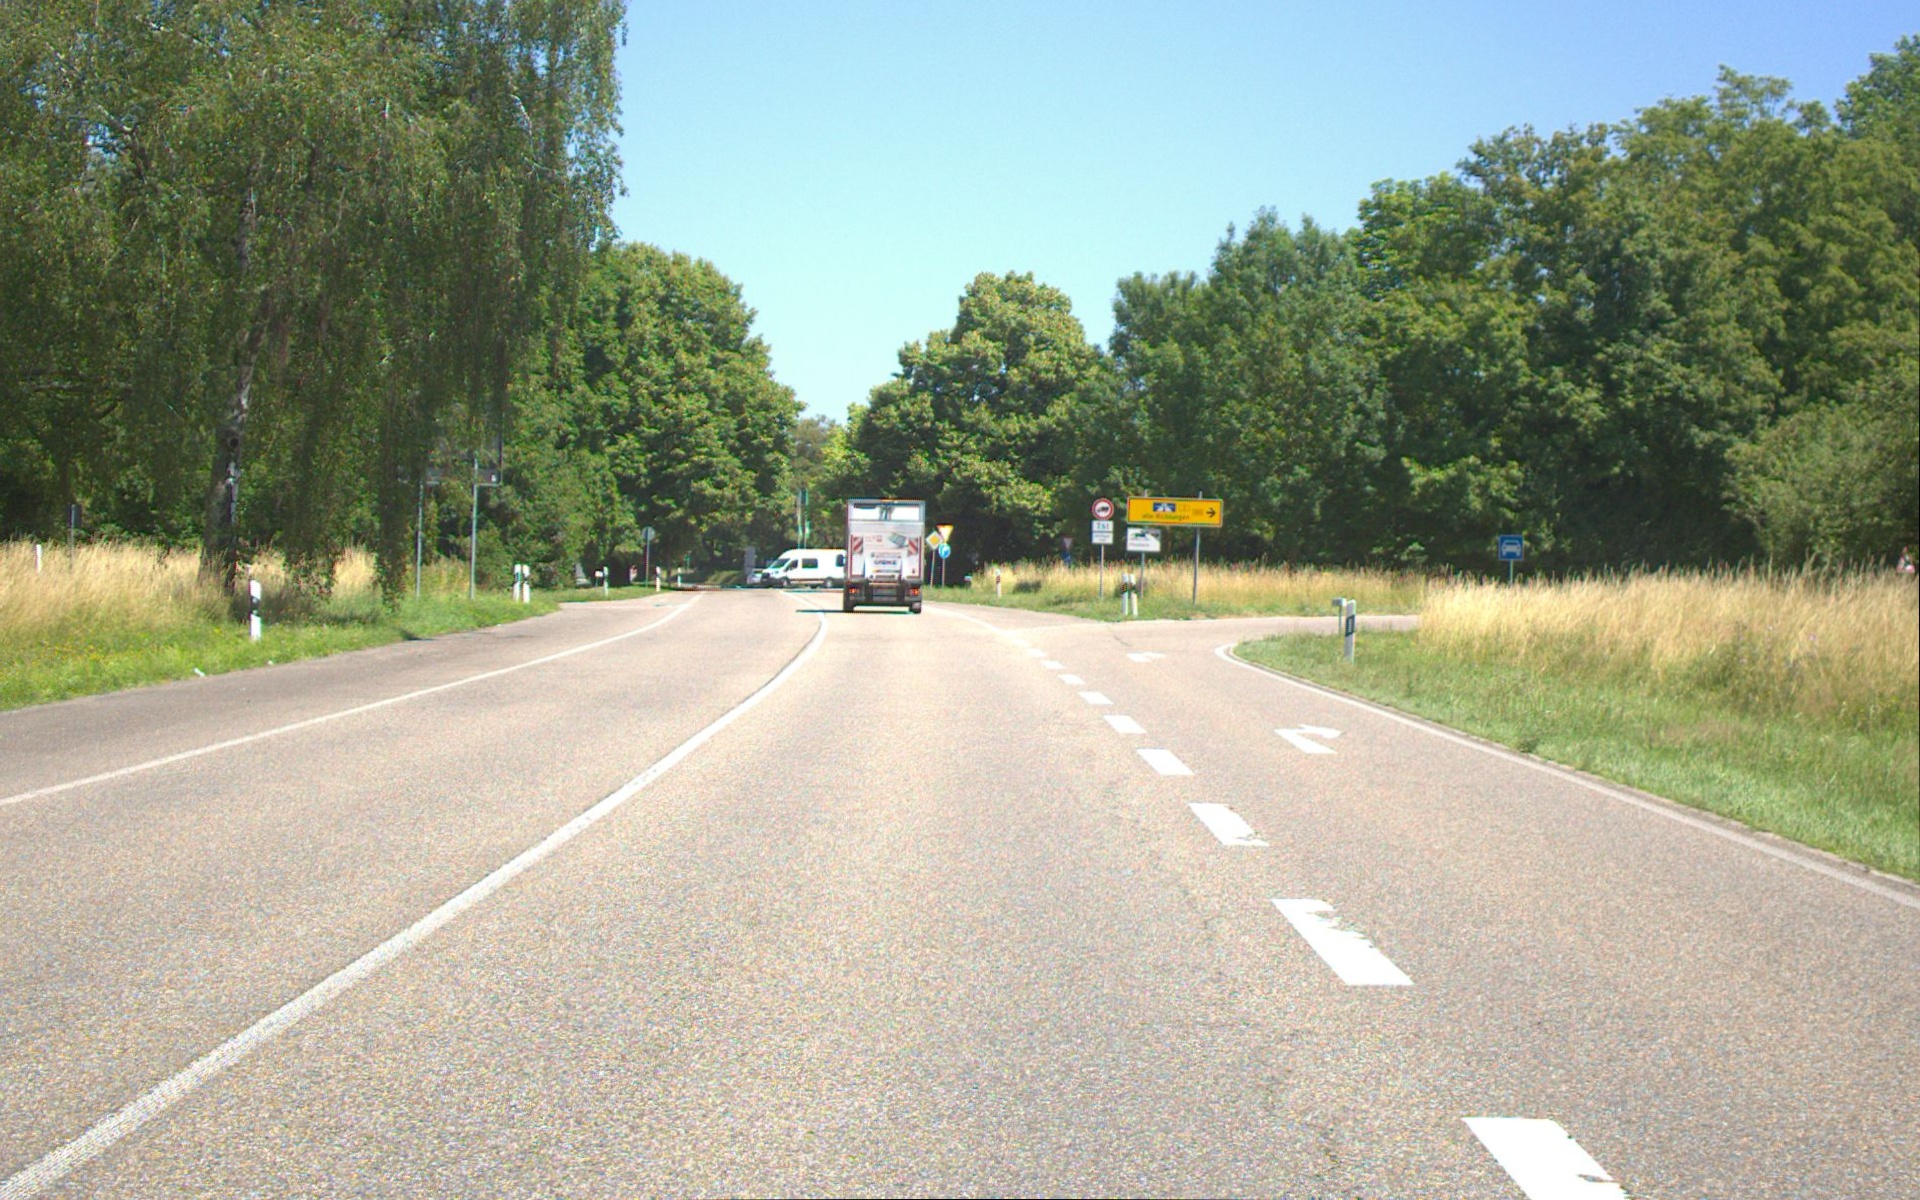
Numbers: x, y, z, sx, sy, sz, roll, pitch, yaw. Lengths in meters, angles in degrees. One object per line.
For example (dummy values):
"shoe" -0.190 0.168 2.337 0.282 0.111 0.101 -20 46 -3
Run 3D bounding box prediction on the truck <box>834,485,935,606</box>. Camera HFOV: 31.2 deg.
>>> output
"truck" -1.992 -1.479 92.227 2.534 3.124 5.361 1 1 0

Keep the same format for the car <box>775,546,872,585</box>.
"car" -9.515 -2.415 240.130 6.763 2.618 2.080 1 0 -37
